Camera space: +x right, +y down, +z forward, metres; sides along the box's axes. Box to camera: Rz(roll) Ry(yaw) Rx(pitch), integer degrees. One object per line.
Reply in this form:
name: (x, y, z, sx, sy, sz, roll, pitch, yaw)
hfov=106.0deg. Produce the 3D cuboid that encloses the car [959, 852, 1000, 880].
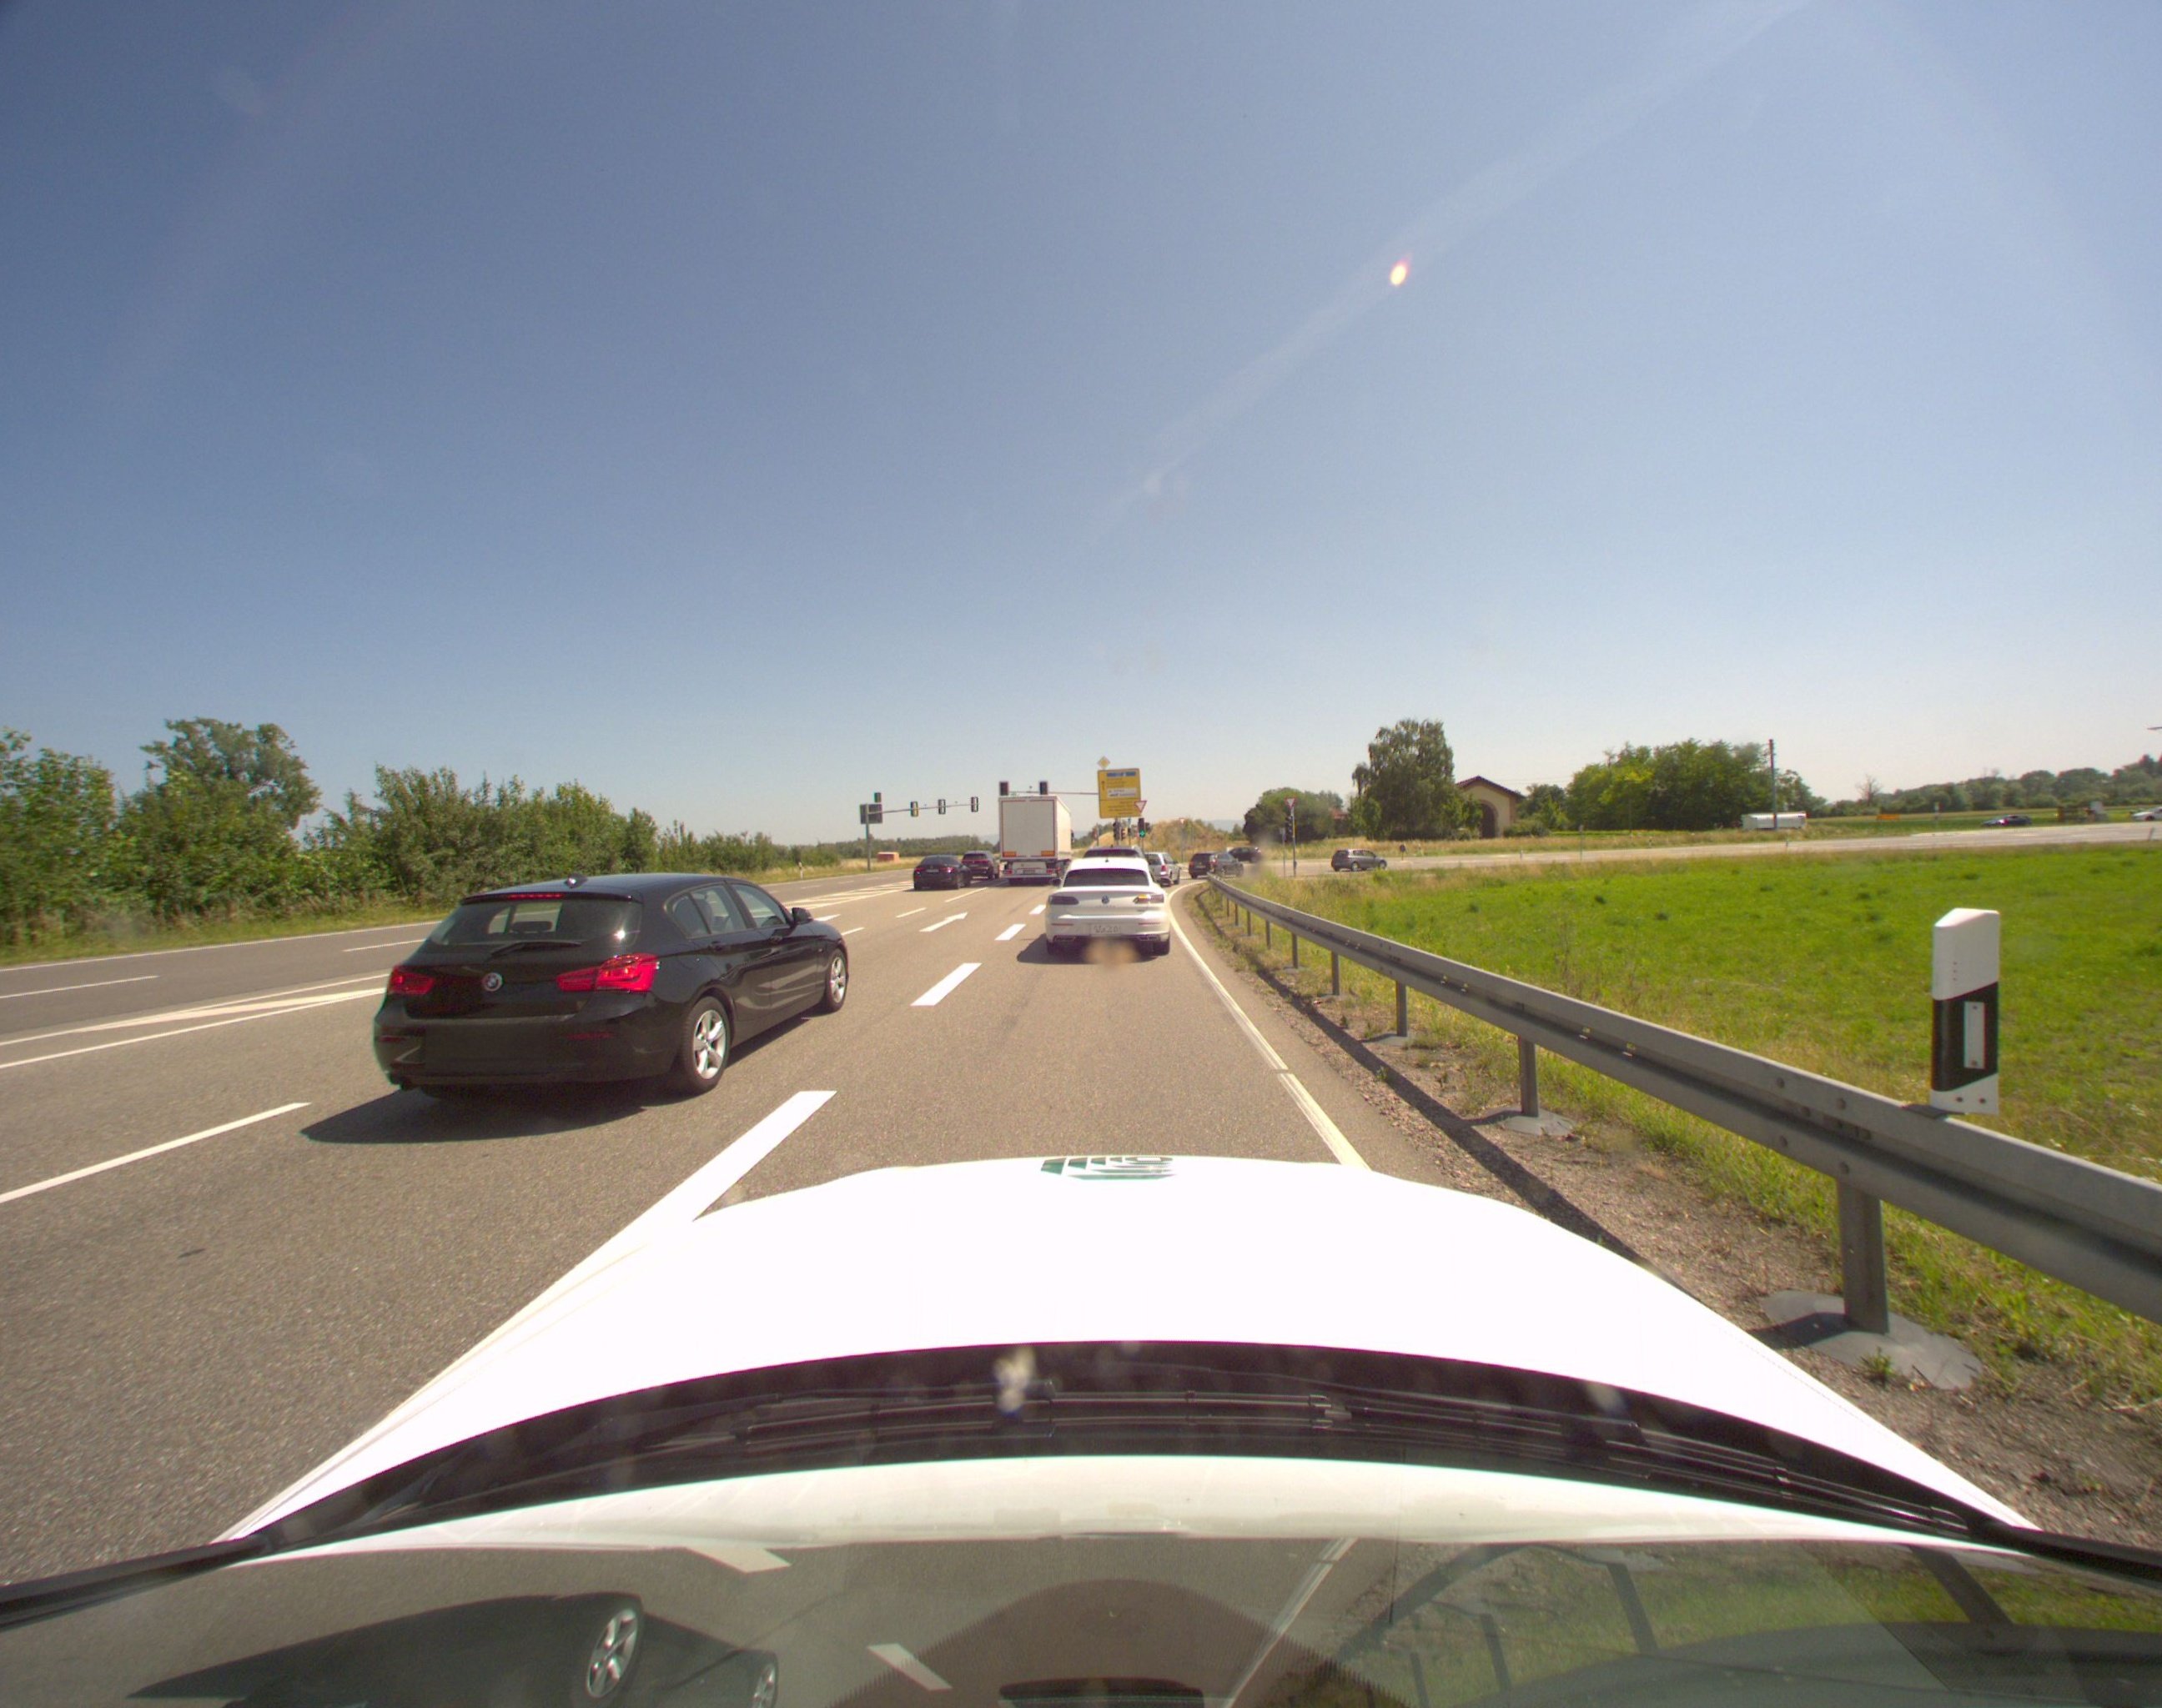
car: (-5.710, 0.630, 46.098, 1.803, 1.493, 4.020, -1, 0, 0)

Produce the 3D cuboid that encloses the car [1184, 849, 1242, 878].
car: (7.226, 0.505, 44.259, 1.783, 1.476, 4.441, -1, 0, 27)

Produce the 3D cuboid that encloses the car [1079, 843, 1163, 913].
car: (1.164, 0.578, 21.428, 1.925, 1.616, 4.385, -1, 0, 6)

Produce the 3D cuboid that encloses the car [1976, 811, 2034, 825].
car: (97.397, -3.803, 85.881, 3.803, 1.387, 1.684, -1, 2, 9)

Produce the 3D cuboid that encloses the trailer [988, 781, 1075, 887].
trailer: (-2.180, -0.896, 41.771, 3.369, 4.542, 12.874, -1, 0, 1)

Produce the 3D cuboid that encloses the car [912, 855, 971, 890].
car: (-5.946, 0.769, 35.133, 1.803, 1.398, 4.020, -1, 0, 0)

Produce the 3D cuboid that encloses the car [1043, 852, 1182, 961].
car: (0.491, 0.708, 13.246, 1.841, 1.433, 4.610, -1, 0, 2)

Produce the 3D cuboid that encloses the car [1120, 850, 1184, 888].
car: (2.996, 0.586, 33.641, 1.786, 1.429, 4.111, -1, 0, 17)

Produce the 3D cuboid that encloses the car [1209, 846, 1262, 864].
car: (13.267, 0.084, 70.104, 4.240, 1.368, 1.778, -3, 1, 4)

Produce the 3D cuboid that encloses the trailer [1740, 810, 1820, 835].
trailer: (78.017, -3.538, 90.965, 6.330, 2.455, 2.691, -3, 2, 6)

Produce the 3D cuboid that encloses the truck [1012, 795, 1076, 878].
truck: (-2.074, -0.981, 48.570, 3.369, 4.542, 6.373, -1, 0, 1)

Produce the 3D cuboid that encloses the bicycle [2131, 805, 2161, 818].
bicycle: (121.804, -4.844, 92.698, 0.899, 1.372, 2.608, 0, -1, -9)

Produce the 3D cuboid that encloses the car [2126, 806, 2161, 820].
car: (110.353, -4.248, 83.252, 3.985, 1.332, 1.708, 0, 3, 39)

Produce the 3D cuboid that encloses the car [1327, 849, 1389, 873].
car: (18.437, 0.441, 54.205, 3.893, 1.522, 1.789, -1, 0, -29)

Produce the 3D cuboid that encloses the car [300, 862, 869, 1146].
car: (-3.249, 0.834, 6.574, 1.777, 1.430, 4.383, -1, 0, 2)

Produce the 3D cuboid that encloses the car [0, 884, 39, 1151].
car: (-6.674, 0.904, 2.225, 1.743, 1.421, 4.566, -1, 0, 0)
